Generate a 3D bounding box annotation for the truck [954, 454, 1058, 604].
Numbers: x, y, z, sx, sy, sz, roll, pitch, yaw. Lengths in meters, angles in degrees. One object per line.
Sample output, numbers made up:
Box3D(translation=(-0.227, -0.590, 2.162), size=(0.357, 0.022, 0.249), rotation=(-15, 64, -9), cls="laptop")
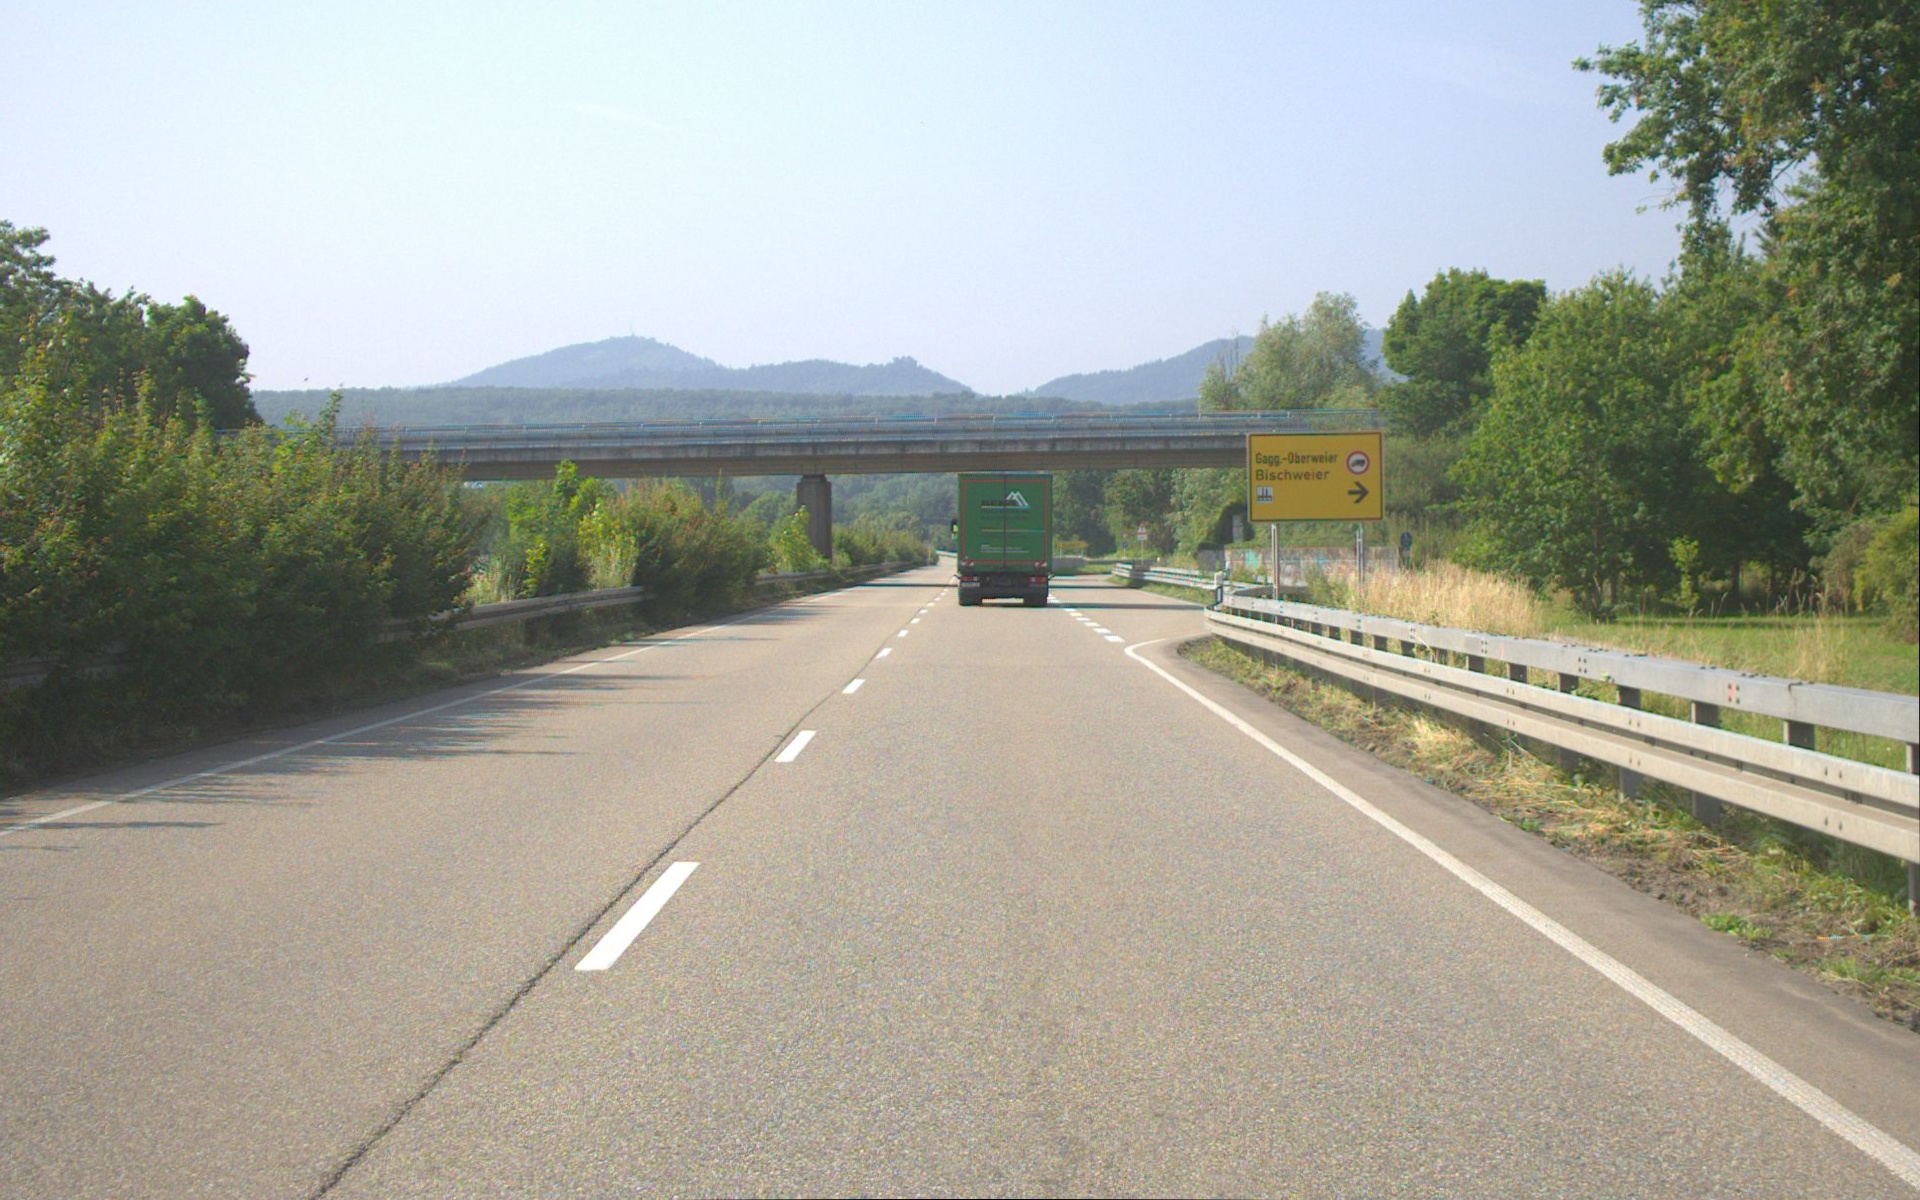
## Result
Box3D(translation=(1.304, -2.112, 97.462), size=(2.722, 3.951, 10.416), rotation=(1, 2, 1), cls="truck")
